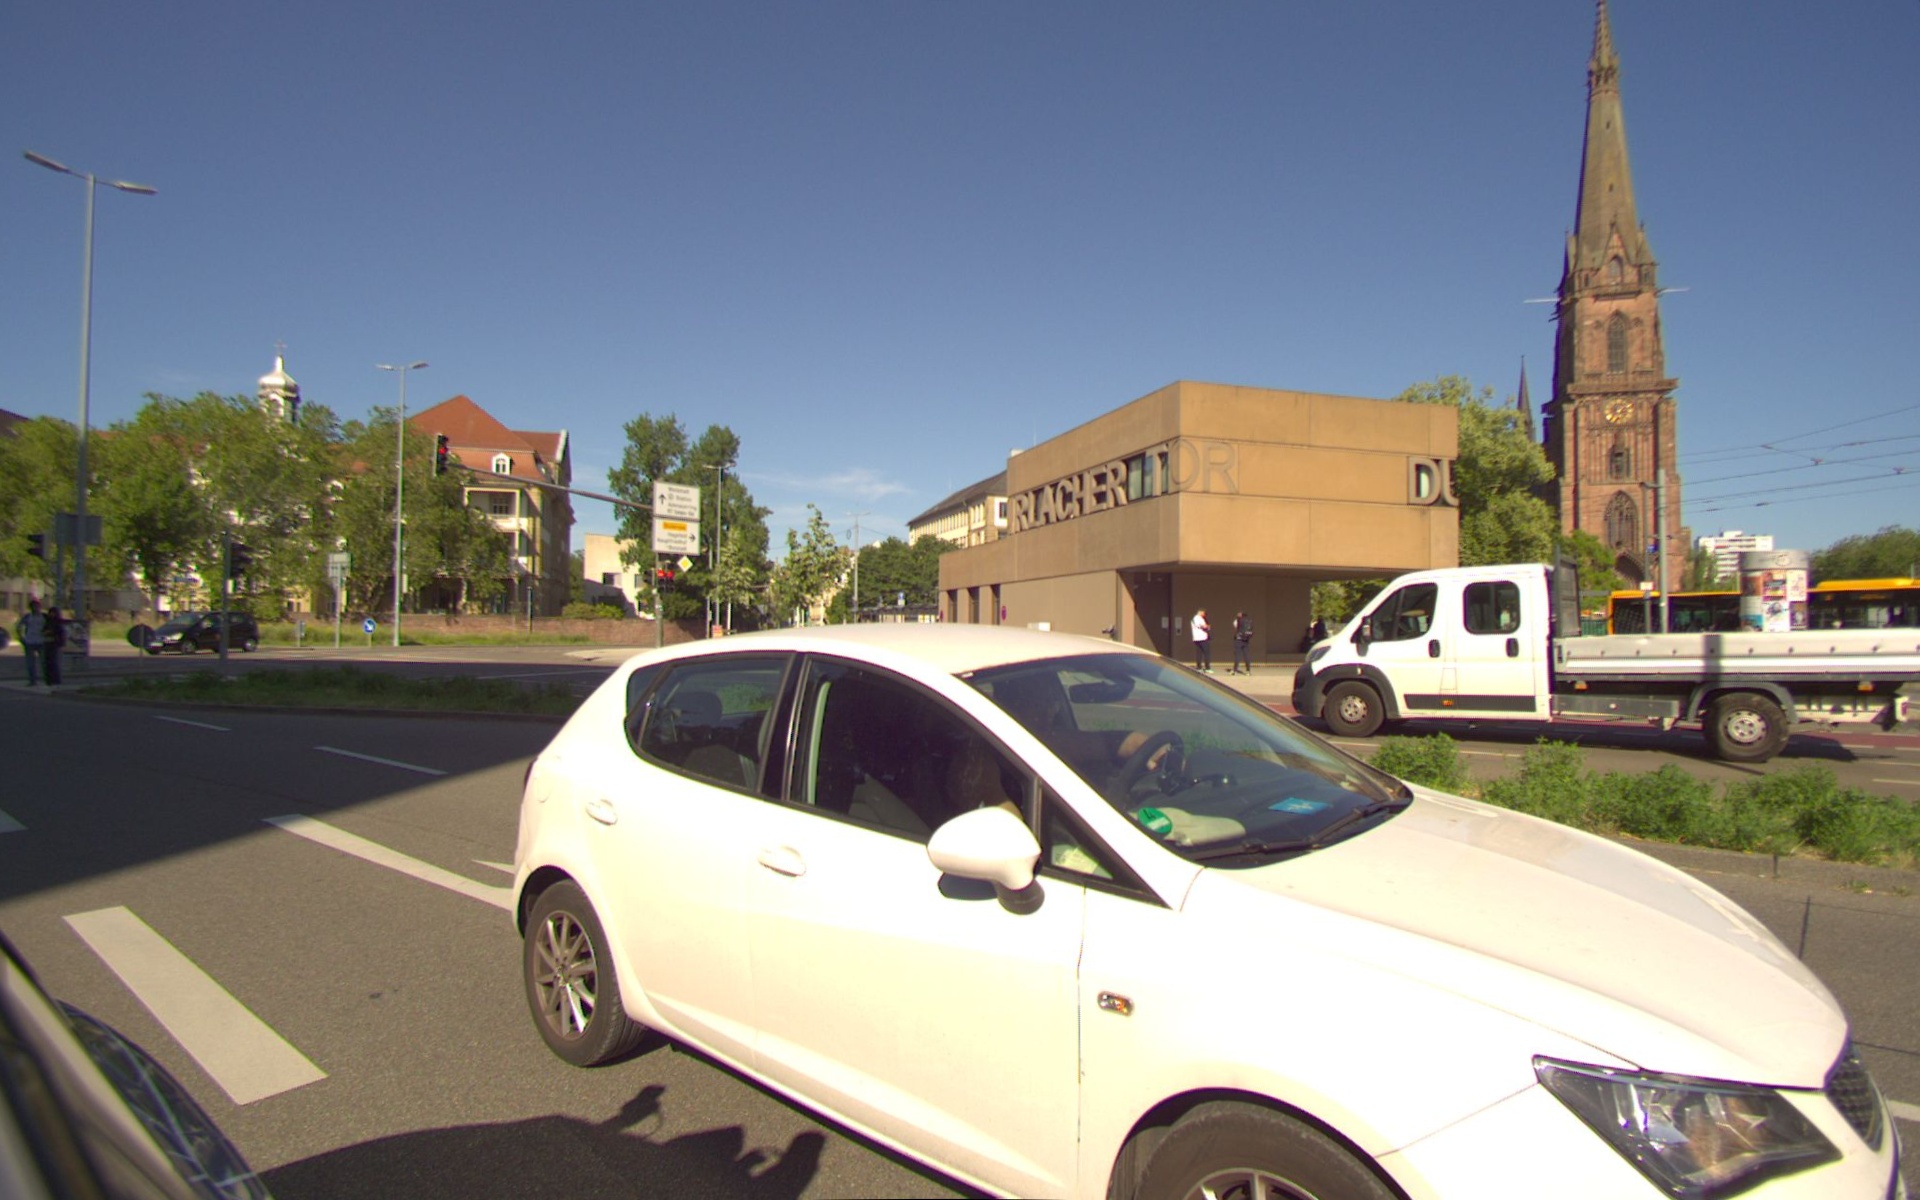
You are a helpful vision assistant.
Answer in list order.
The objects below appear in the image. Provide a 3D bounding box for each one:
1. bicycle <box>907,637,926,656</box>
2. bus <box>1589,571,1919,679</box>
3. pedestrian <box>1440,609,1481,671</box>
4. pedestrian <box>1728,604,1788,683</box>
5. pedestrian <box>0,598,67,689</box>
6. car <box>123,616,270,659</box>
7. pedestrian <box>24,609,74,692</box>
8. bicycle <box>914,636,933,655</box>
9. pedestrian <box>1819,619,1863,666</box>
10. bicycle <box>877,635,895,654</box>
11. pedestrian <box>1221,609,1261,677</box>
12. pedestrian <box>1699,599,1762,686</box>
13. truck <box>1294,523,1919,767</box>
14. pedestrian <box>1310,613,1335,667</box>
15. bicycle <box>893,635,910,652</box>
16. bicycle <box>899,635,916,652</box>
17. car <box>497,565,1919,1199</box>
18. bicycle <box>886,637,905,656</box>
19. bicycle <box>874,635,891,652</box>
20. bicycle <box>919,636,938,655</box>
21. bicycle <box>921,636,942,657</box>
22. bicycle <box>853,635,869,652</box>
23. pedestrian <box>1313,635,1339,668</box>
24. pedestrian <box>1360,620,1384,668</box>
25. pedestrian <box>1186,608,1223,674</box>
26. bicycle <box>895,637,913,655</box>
[{"bbox_3d":[-2.489,2.664,57.784,0.558,1.046,1.794,2,-2,-20],"label":"bicycle"},{"bbox_3d":[28.588,0.916,35.061,2.923,3.240,12.626,1,-2,-17],"label":"bus"},{"bbox_3d":[14.270,1.136,28.841,0.777,1.736,0.649,1,0,-17],"label":"pedestrian"},{"bbox_3d":[17.960,0.958,22.787,0.778,1.736,0.648,1,0,-5],"label":"pedestrian"},{"bbox_3d":[-19.463,0.890,21.052,0.748,1.846,1.092,0,-1,9],"label":"pedestrian"},{"bbox_3d":[-28.699,1.432,38.231,1.978,1.484,4.283,-2,-3,10],"label":"car"},{"bbox_3d":[-18.337,1.011,20.385,0.671,1.624,0.721,1,-2,-38],"label":"pedestrian"},{"bbox_3d":[-2.161,2.692,60.254,0.558,1.046,1.794,2,-2,-20],"label":"bicycle"},{"bbox_3d":[26.615,1.278,30.591,0.632,1.404,0.799,0,-2,6],"label":"pedestrian"},{"bbox_3d":[-4.309,2.608,59.111,0.558,1.046,1.794,2,-2,-20],"label":"bicycle"},{"bbox_3d":[7.345,1.103,26.475,0.634,1.736,0.749,1,0,-44],"label":"pedestrian"},{"bbox_3d":[15.999,0.869,21.029,0.778,1.755,0.648,-1,0,-5],"label":"pedestrian"},{"bbox_3d":[7.795,0.493,12.153,6.876,2.331,2.192,-1,-2,39],"label":"truck"},{"bbox_3d":[12.292,1.366,34.335,0.563,1.789,0.585,-4,-4,39],"label":"pedestrian"},{"bbox_3d":[-3.799,2.839,65.775,0.558,1.046,1.794,2,-2,-20],"label":"bicycle"},{"bbox_3d":[-3.299,2.744,63.700,0.558,1.046,1.794,2,-2,-20],"label":"bicycle"},{"bbox_3d":[0.344,0.716,2.900,3.735,1.447,1.673,-1,-1,41],"label":"car"},{"bbox_3d":[-3.663,2.639,57.364,0.558,1.046,1.794,2,-2,-20],"label":"bicycle"},{"bbox_3d":[-5.017,2.823,65.323,0.558,1.046,1.794,2,-2,-20],"label":"bicycle"},{"bbox_3d":[-1.810,2.626,58.060,0.558,1.046,1.794,2,-2,-20],"label":"bicycle"},{"bbox_3d":[-1.550,2.487,54.280,0.558,1.046,1.794,2,-2,-20],"label":"bicycle"},{"bbox_3d":[-6.321,2.789,64.853,0.558,1.046,1.794,2,-2,-20],"label":"bicycle"},{"bbox_3d":[11.262,1.584,31.115,0.501,0.973,0.576,1,0,-12],"label":"pedestrian"},{"bbox_3d":[13.418,1.419,32.957,0.509,1.521,0.739,1,0,40],"label":"pedestrian"},{"bbox_3d":[6.557,1.094,27.155,0.778,1.736,0.597,1,0,-5],"label":"pedestrian"},{"bbox_3d":[-3.316,2.707,59.732,0.558,1.046,1.794,2,-2,-20],"label":"bicycle"}]
